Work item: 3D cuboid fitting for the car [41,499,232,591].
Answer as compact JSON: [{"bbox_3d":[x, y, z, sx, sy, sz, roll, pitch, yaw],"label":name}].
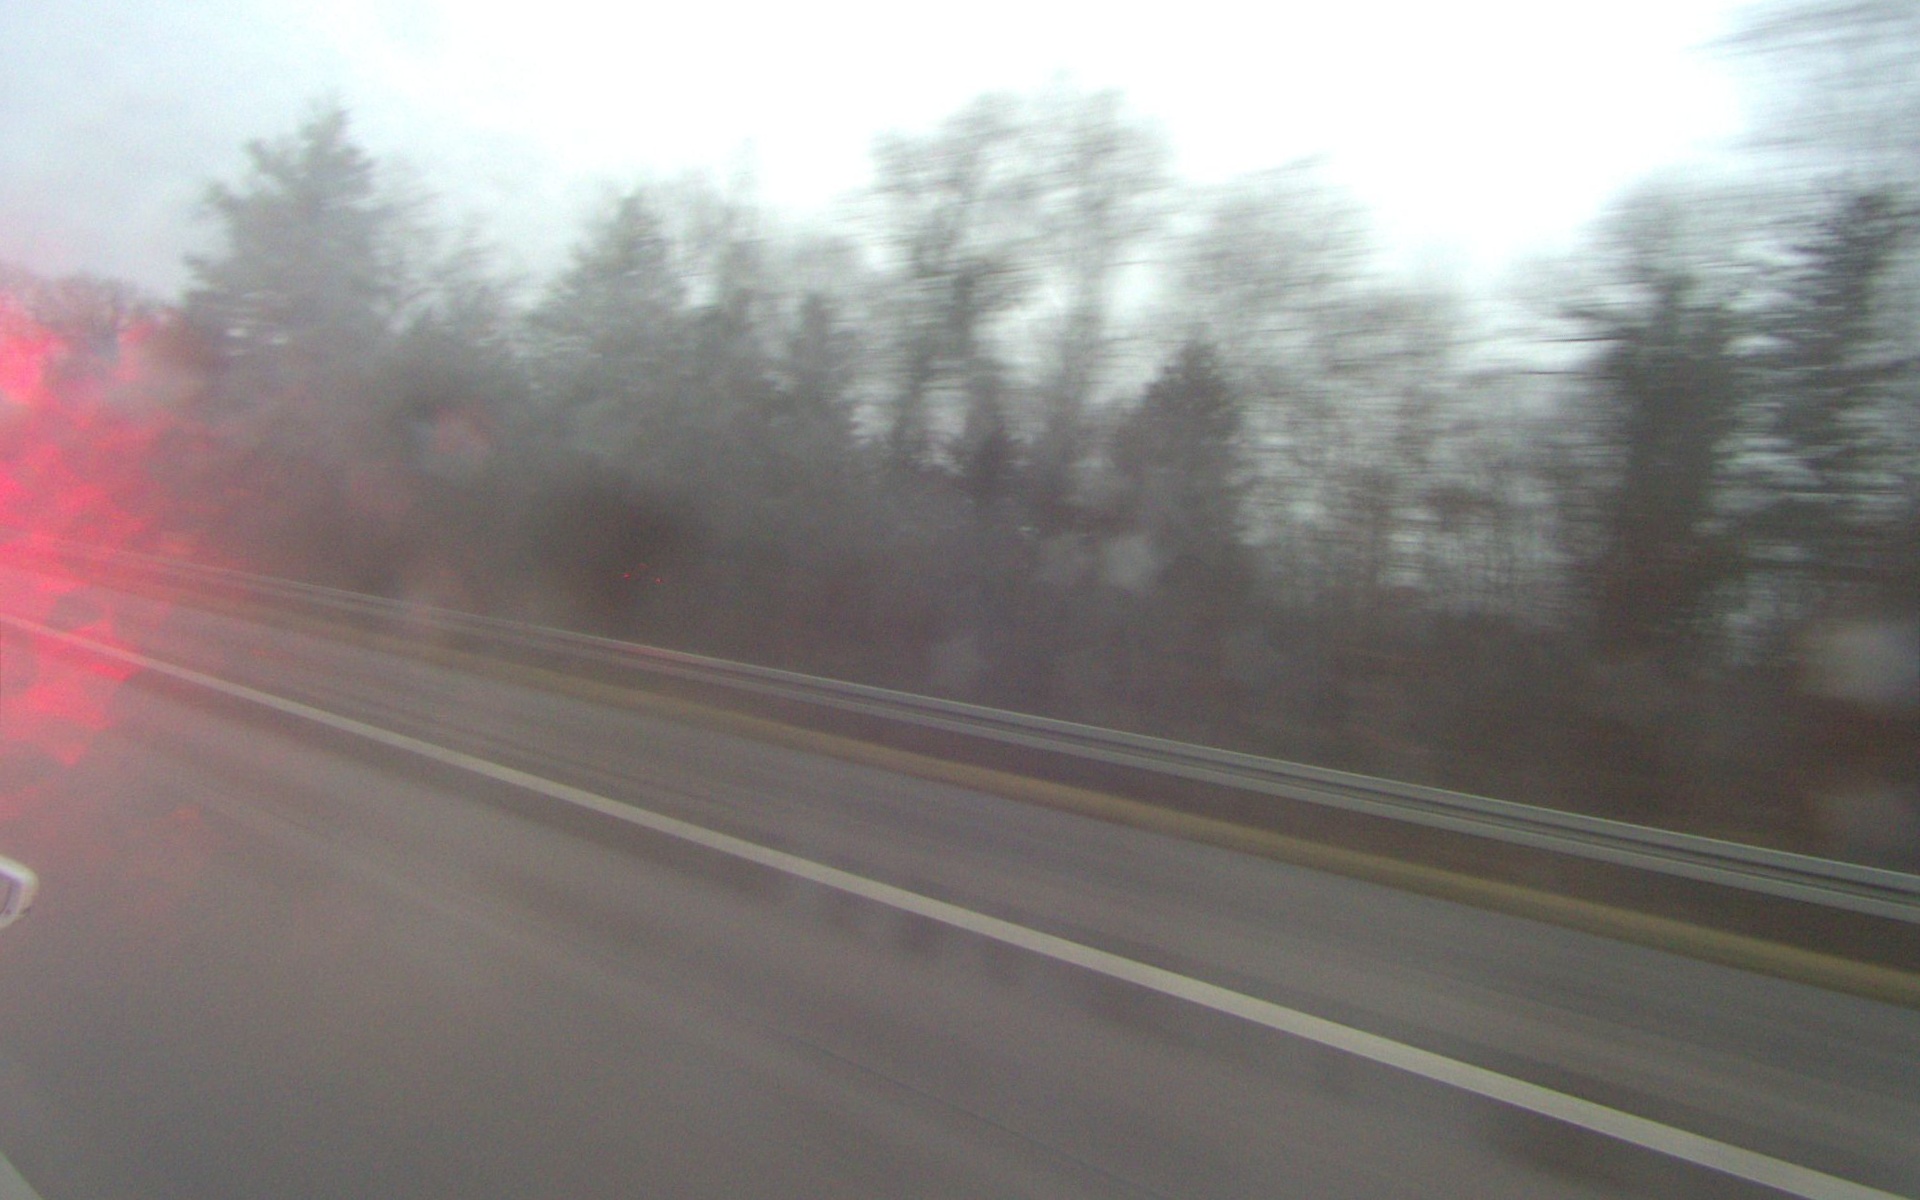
[{"bbox_3d":[-17.309,-1.162,21.122,3.935,1.435,1.868,6,-2,33],"label":"car"}]
